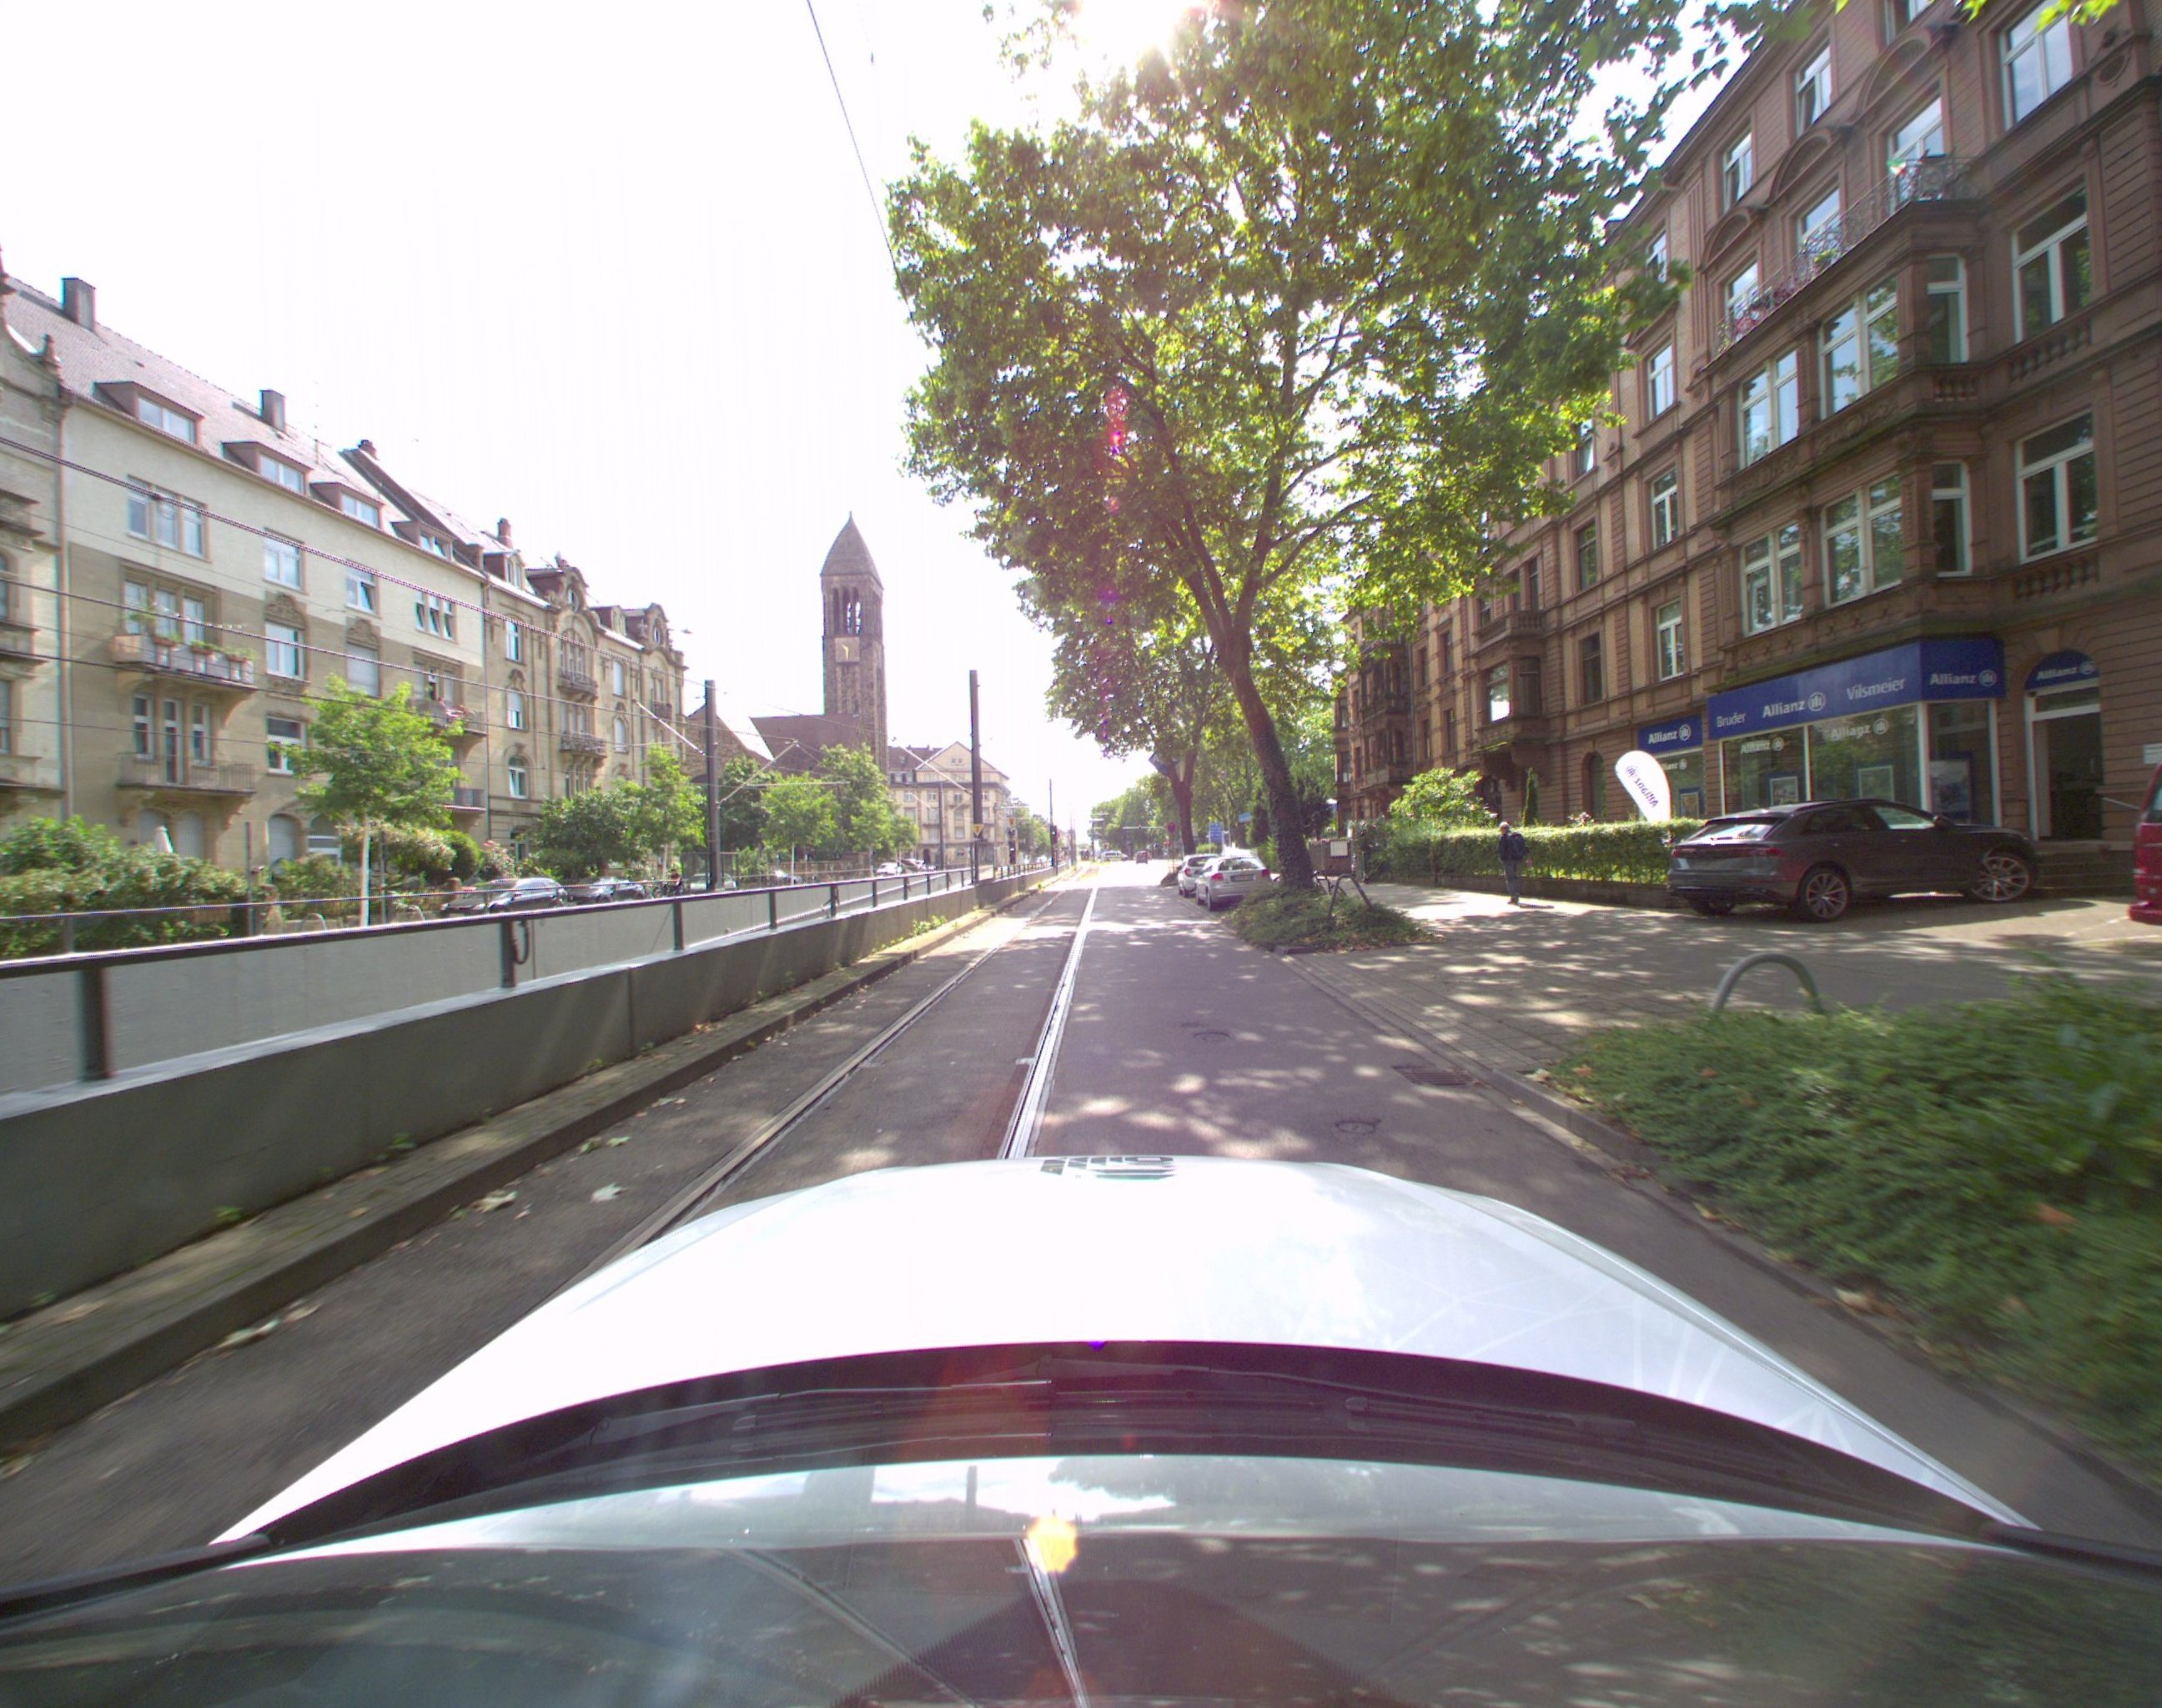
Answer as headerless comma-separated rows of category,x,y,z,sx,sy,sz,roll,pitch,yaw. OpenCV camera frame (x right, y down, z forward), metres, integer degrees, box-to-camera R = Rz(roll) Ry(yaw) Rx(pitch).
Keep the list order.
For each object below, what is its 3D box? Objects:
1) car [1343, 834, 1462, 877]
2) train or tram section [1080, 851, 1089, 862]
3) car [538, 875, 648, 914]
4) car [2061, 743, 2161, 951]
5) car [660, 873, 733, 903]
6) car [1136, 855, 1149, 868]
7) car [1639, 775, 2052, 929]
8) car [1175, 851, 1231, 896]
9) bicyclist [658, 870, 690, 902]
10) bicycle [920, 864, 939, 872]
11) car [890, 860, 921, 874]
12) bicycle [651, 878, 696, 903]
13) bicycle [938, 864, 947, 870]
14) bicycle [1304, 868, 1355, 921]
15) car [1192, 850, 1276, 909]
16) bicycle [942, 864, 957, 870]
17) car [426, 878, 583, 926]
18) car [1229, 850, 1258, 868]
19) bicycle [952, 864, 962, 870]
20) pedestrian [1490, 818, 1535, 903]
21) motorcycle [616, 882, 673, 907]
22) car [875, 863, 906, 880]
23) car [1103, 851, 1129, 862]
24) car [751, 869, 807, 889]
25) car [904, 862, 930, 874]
car,13.515,0.073,34.392,4.218,1.469,1.943,-4,-1,1
train or tram section,1.187,0.655,260.944,2.232,3.331,12.979,-2,0,2
car,-19.966,1.638,33.565,2.013,1.327,4.100,-2,0,0
car,12.170,-0.250,7.125,4.374,1.939,1.987,-5,0,6
car,-20.150,1.743,42.854,1.746,1.328,4.312,-2,0,0
car,8.941,1.063,118.904,1.743,1.809,3.477,-1,0,2
car,11.610,-0.047,12.564,4.716,1.782,2.001,-5,0,-7
car,4.390,0.685,29.733,1.548,1.485,3.860,-2,0,2
bicyclist,-18.006,1.411,36.047,0.765,1.337,1.049,-4,0,2
bicycle,-27.407,2.522,147.451,3.283,1.253,1.003,-2,0,18
car,-24.097,1.797,111.810,3.859,1.748,1.894,-2,0,-1
bicycle,-18.010,1.593,36.080,0.773,0.979,2.142,-4,0,2
bicycle,-25.429,2.373,149.428,0.808,1.053,2.543,-2,0,-27
bicycle,5.176,0.820,17.024,0.578,1.020,1.322,-2,0,-3
car,4.185,0.672,22.796,1.671,1.444,3.860,-2,-1,2
bicycle,-23.965,2.341,148.248,2.571,1.053,0.676,-2,0,-26
car,-19.941,1.608,28.490,1.941,1.327,4.728,-2,0,3
car,13.985,0.428,70.186,1.799,1.455,4.002,-2,0,1
bicycle,-22.945,2.331,150.542,0.797,1.053,2.576,-2,0,14
pedestrian,9.289,0.141,17.541,0.562,1.786,0.630,-2,0,1
motorcycle,-19.871,1.851,37.104,1.754,0.941,1.418,-4,0,0
car,-18.666,1.697,79.853,1.924,1.504,4.414,-2,0,0
car,6.703,0.404,154.751,4.707,1.860,2.005,-2,0,9
car,-25.118,2.069,67.807,3.947,1.464,1.724,-3,0,2
car,-23.203,1.928,115.071,3.254,1.502,1.854,-2,0,0
